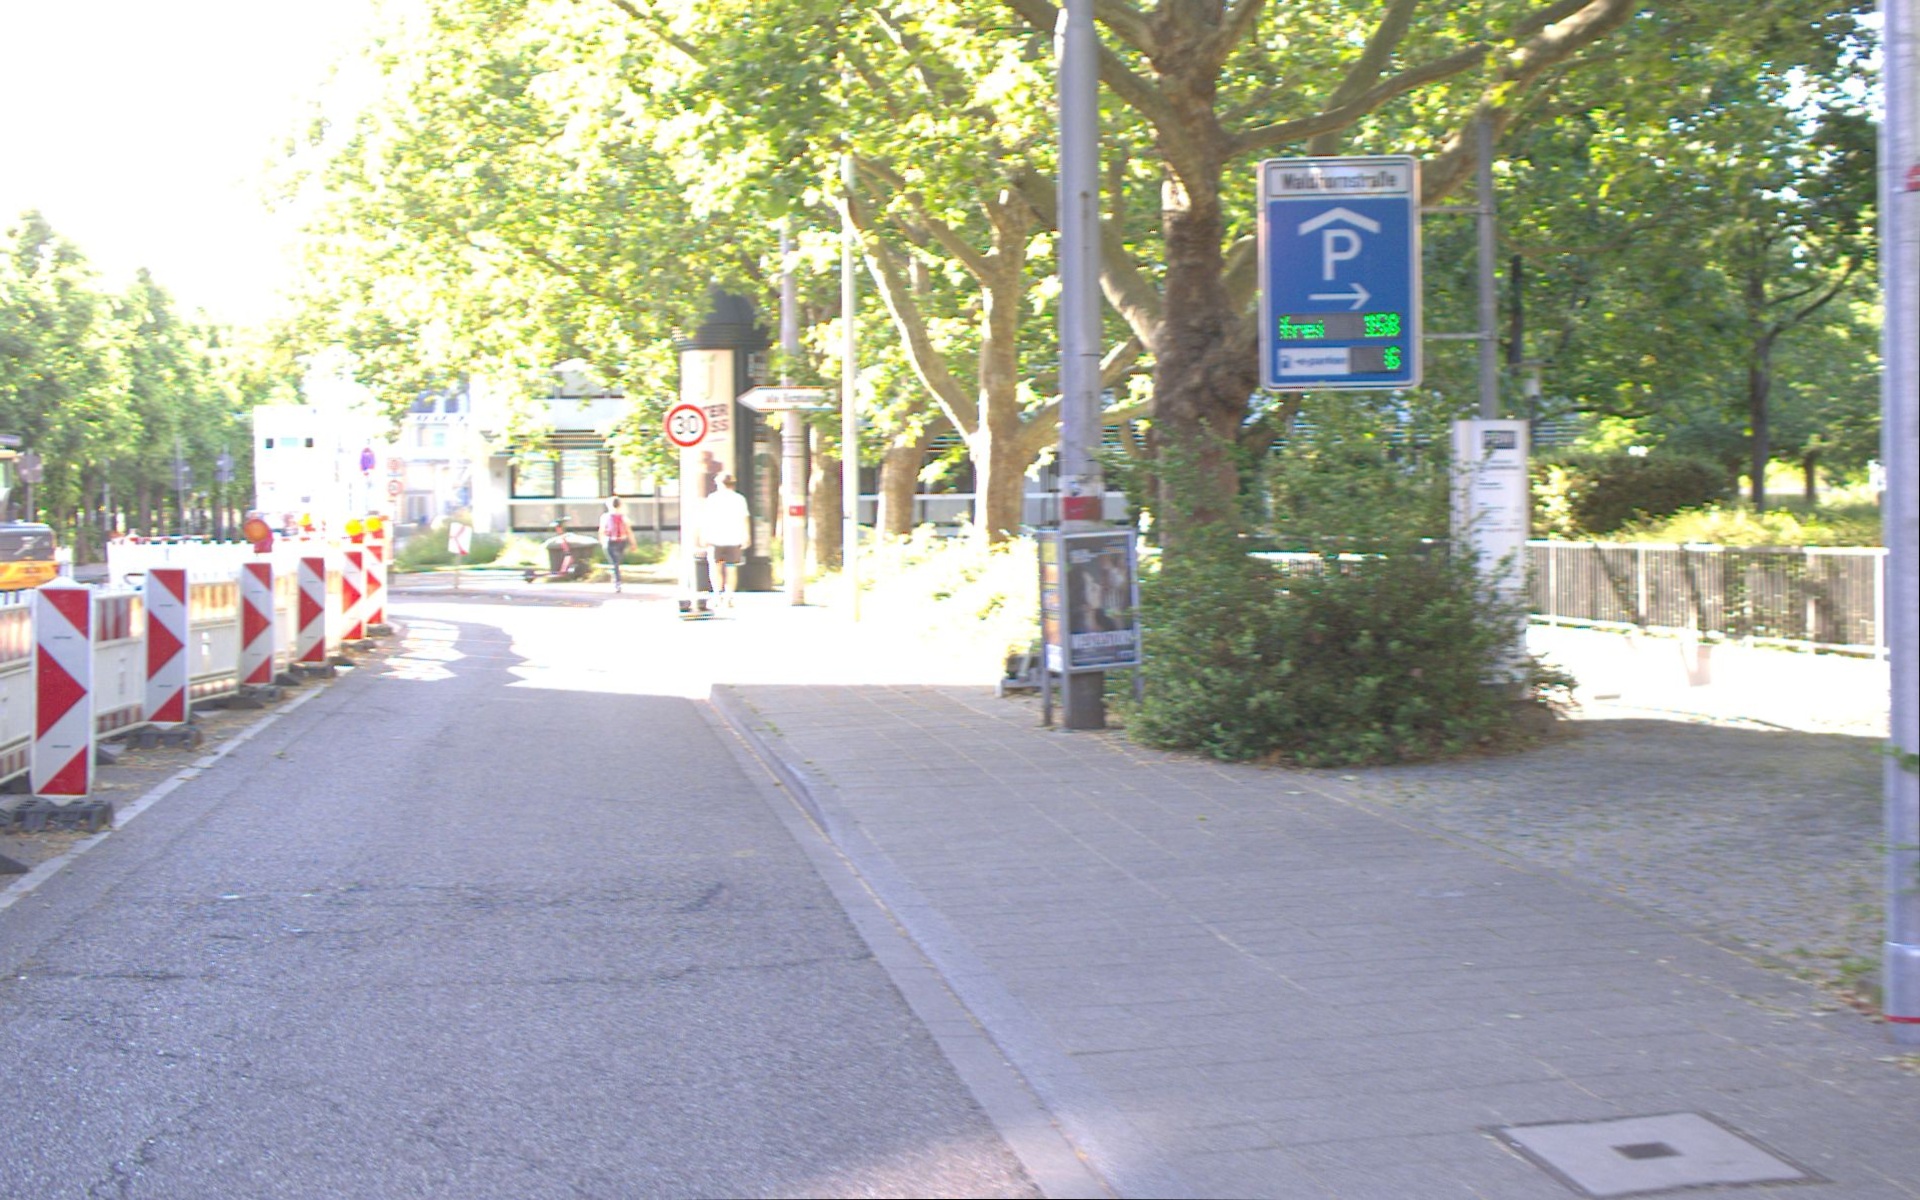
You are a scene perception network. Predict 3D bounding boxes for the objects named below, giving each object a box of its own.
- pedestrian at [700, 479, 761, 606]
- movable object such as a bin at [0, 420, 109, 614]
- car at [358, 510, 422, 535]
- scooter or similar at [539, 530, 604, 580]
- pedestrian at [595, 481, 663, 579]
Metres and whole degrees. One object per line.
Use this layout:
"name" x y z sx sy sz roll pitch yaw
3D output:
"pedestrian" -3.327 -0.836 49.768 0.744 1.806 1.134 0 2 -11
"movable object such as a bin" -16.834 -1.318 55.983 5.925 3.021 2.562 0 2 38
"car" -41.357 -5.640 249.565 4.556 1.784 2.001 0 2 -8
"scooter or similar" -7.390 -0.860 65.462 1.146 0.910 0.419 -3 1 -14
"pedestrian" -5.519 -1.158 57.340 0.708 1.617 0.939 -1 1 -38
